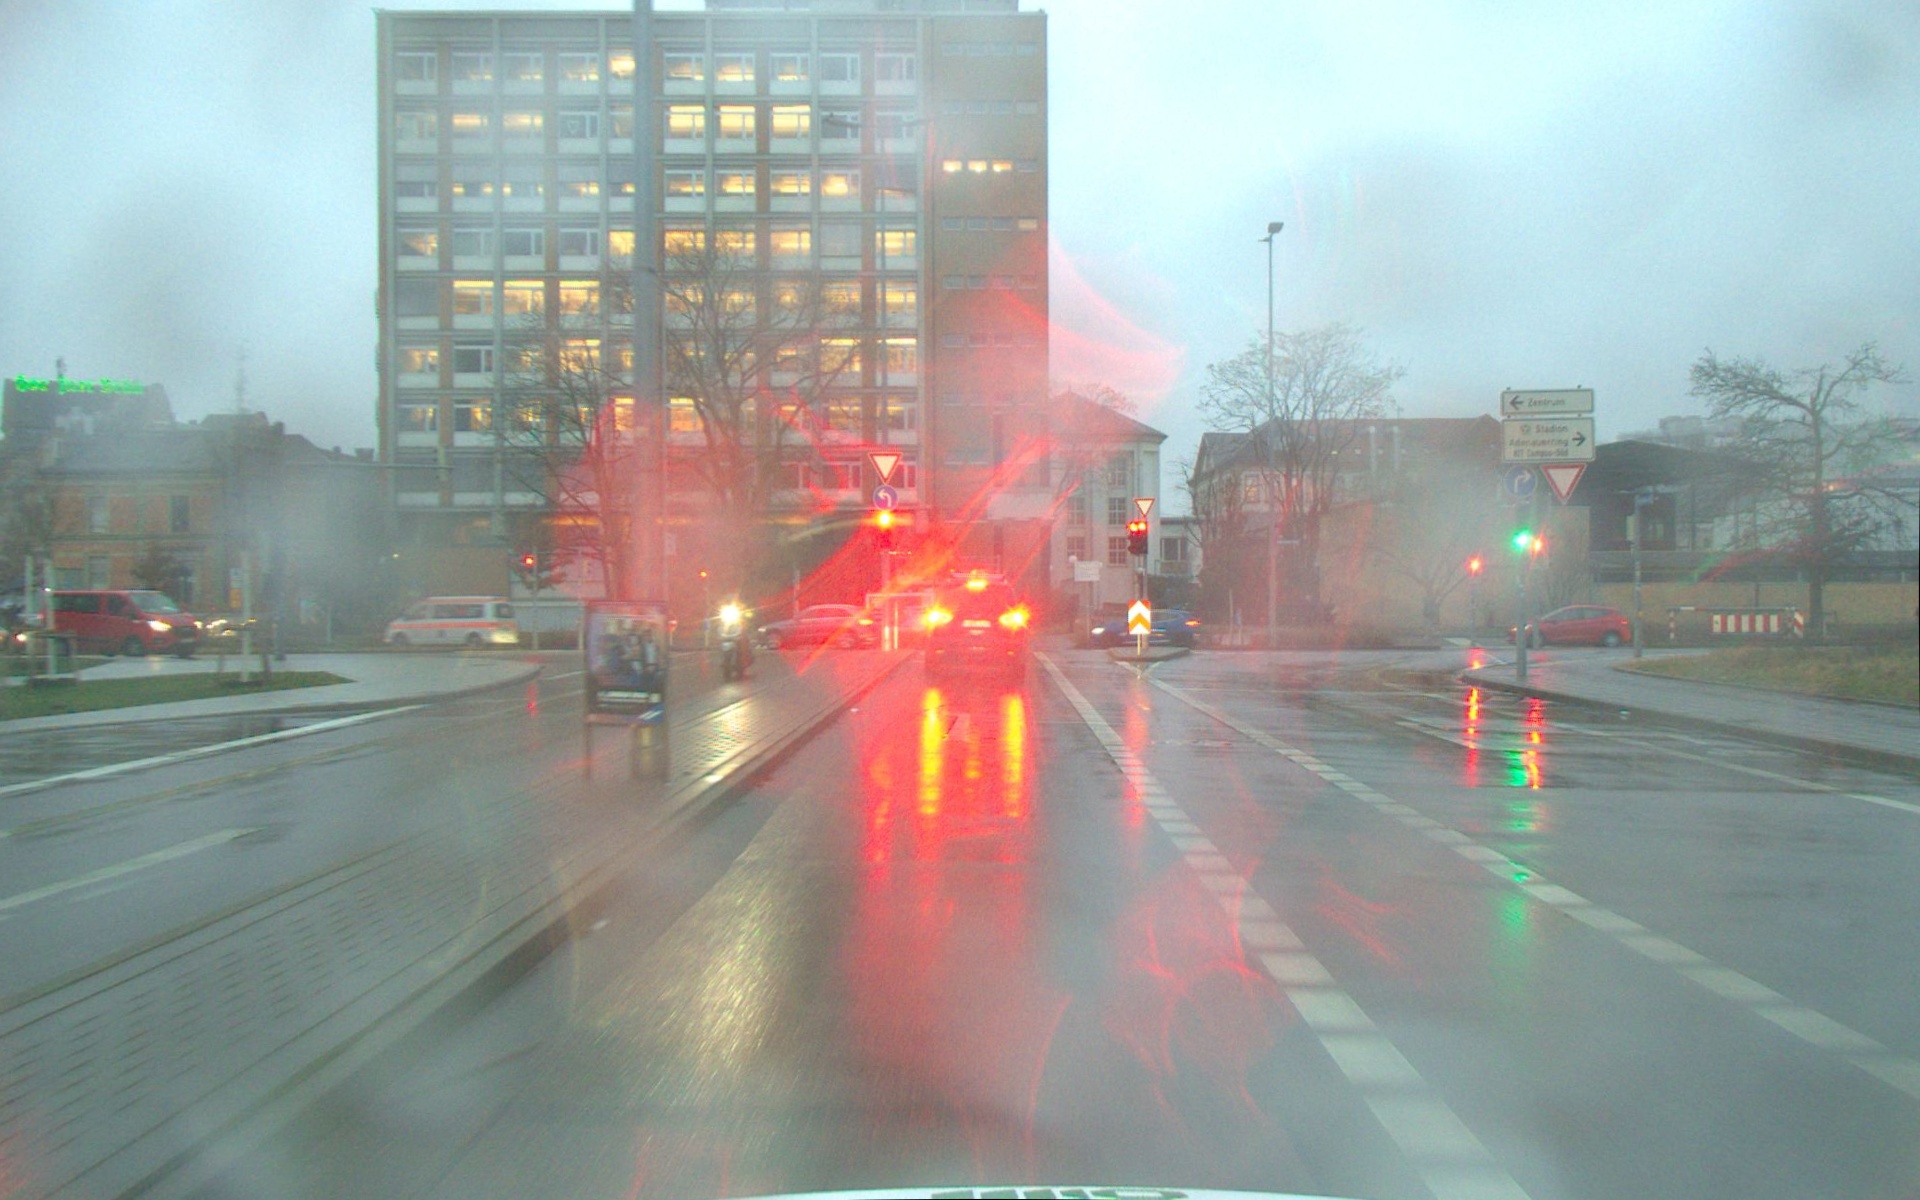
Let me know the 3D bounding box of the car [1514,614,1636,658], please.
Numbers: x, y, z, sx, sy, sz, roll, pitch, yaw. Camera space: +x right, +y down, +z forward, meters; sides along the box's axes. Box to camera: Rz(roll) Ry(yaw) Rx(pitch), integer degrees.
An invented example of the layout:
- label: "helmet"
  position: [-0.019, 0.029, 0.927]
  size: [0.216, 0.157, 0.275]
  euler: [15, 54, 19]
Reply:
- label: "car"
  position: [20.888, 1.225, 56.299]
  size: [3.709, 1.423, 1.566]
  euler: [1, -2, 13]

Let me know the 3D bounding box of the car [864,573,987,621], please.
- label: "car"
  position: [-1.580, -0.147, 76.945]
  size: [5.429, 2.060, 2.001]
  euler: [1, -2, 7]

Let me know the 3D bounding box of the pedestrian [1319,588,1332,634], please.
- label: "pedestrian"
  position: [14.968, 0.464, 67.704]
  size: [0.428, 1.871, 0.460]
  euler: [1, -2, 19]

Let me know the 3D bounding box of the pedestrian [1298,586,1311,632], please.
- label: "pedestrian"
  position: [14.173, 0.373, 68.046]
  size: [0.428, 1.871, 0.460]
  euler: [1, -2, 19]

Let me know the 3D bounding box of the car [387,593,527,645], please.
- label: "car"
  position: [-20.060, 0.747, 65.992]
  size: [5.046, 1.947, 2.000]
  euler: [1, 0, 16]

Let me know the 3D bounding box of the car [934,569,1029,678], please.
- label: "car"
  position: [0.405, 0.390, 30.616]
  size: [1.613, 1.850, 4.001]
  euler: [1, 0, 1]

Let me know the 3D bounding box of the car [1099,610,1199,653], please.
- label: "car"
  position: [6.729, 1.125, 58.841]
  size: [3.338, 1.423, 1.470]
  euler: [1, -2, 16]

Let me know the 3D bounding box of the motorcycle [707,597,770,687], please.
- label: "motorcycle"
  position: [-3.899, 0.709, 29.326]
  size: [0.812, 1.523, 2.314]
  euler: [-1, 0, -1]

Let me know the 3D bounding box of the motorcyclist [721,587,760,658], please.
- label: "motorcyclist"
  position: [-3.866, 0.400, 29.142]
  size: [0.524, 1.214, 0.611]
  euler: [1, -2, 4]

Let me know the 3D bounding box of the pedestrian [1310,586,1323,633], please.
- label: "pedestrian"
  position: [14.381, 0.377, 66.755]
  size: [0.448, 1.871, 0.439]
  euler: [1, -2, 18]

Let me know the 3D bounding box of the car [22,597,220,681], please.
- label: "car"
  position: [-24.478, 1.134, 48.284]
  size: [4.915, 2.321, 2.259]
  euler: [1, -2, 17]

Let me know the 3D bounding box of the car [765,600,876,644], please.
- label: "car"
  position: [-5.182, 0.822, 61.645]
  size: [3.833, 1.512, 1.470]
  euler: [1, -2, 16]
